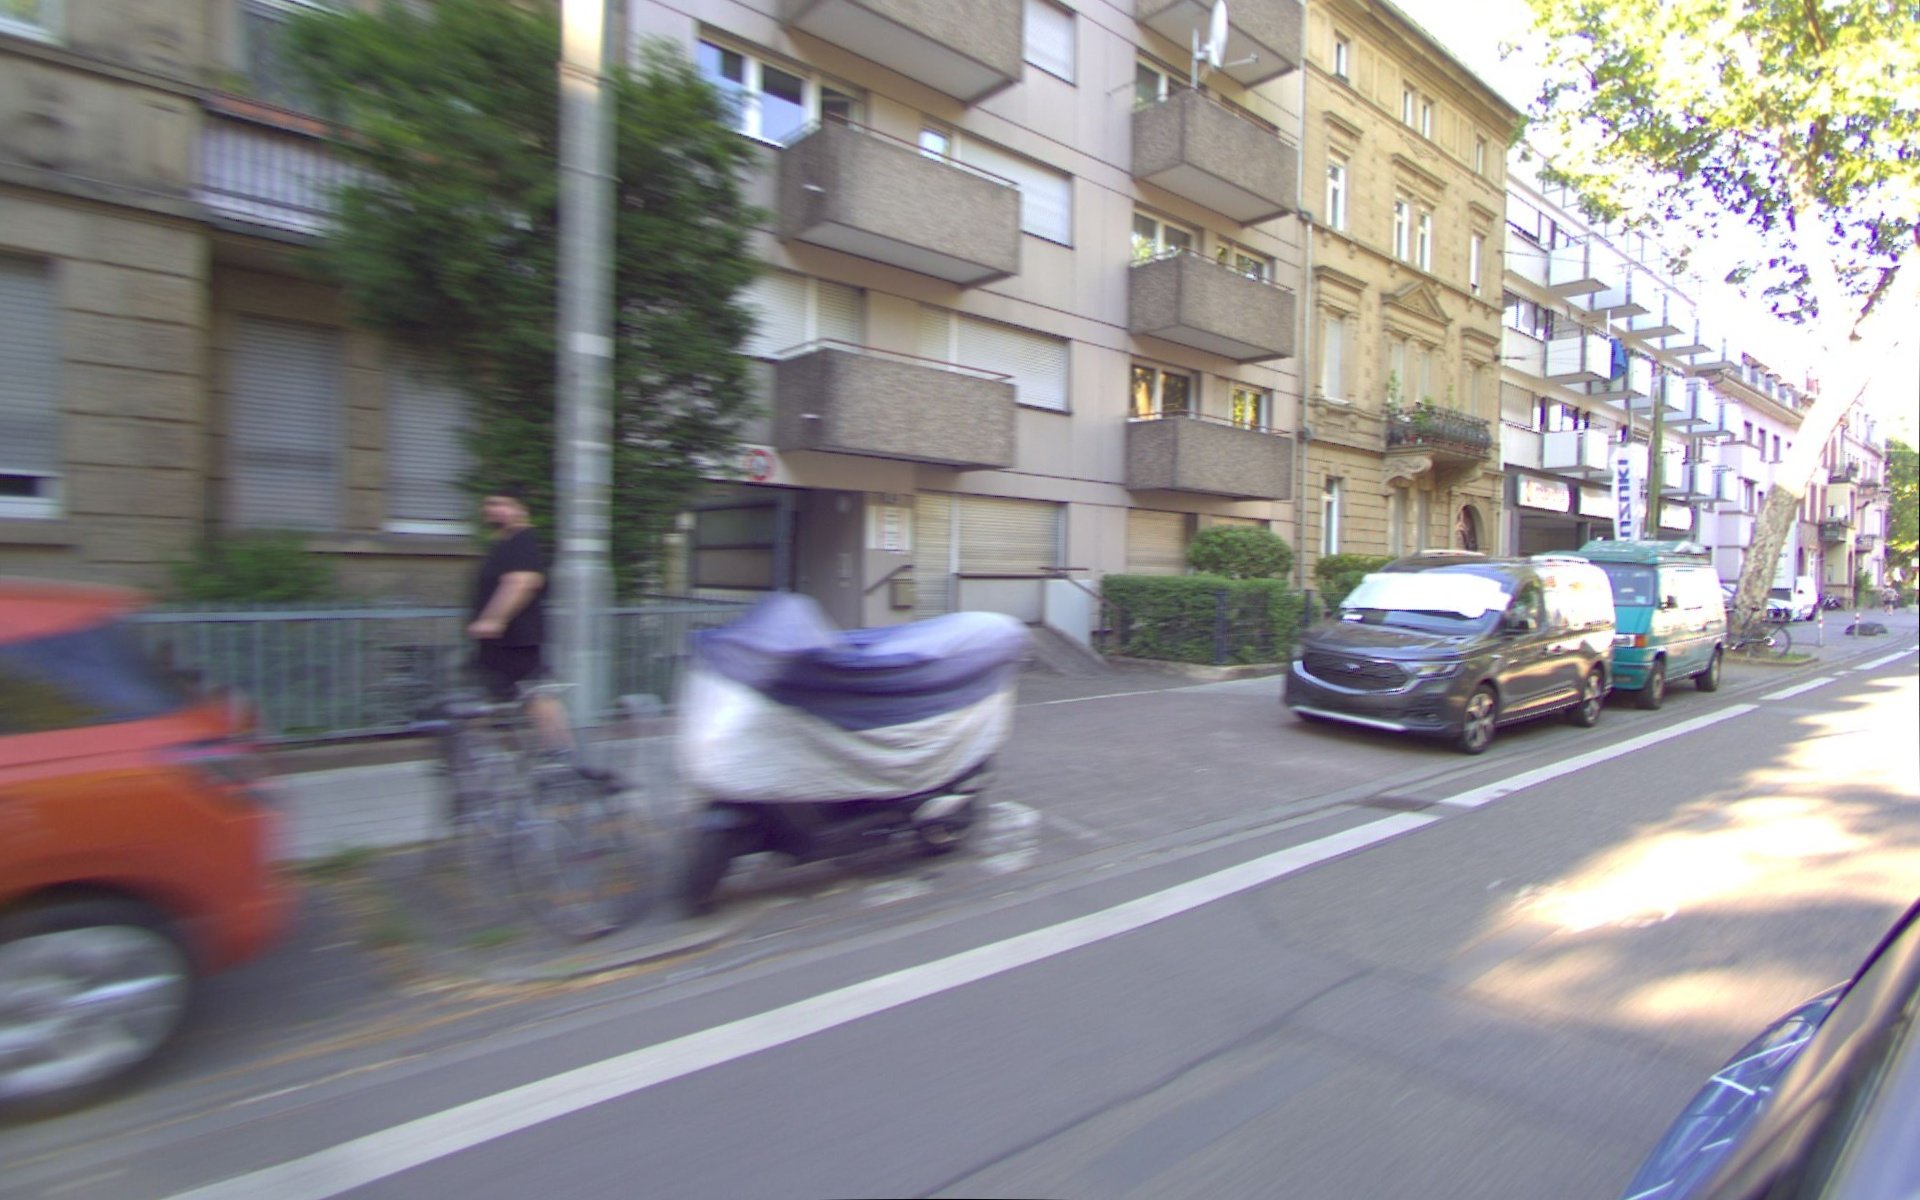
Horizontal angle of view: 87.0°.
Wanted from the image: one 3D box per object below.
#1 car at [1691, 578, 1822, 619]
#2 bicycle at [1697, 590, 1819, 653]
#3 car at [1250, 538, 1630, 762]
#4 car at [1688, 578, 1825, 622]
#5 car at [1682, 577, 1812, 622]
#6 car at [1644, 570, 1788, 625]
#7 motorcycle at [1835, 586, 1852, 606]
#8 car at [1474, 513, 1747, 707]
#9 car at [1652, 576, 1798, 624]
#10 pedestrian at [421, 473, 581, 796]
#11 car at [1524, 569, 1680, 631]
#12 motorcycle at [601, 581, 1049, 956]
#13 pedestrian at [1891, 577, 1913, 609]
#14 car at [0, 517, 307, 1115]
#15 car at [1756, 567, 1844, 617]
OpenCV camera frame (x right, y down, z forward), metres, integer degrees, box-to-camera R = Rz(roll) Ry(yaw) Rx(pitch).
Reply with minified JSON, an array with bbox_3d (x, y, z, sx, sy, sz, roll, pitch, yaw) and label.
[{"bbox_3d":[31.849,-0.086,40.556,1.879,1.520,3.819,1,1,-40],"label":"car"},{"bbox_3d":[15.832,0.398,20.124,0.342,1.157,1.848,-1,2,-41],"label":"bicycle"},{"bbox_3d":[5.208,0.321,10.654,4.677,1.852,1.996,-2,3,-42],"label":"car"},{"bbox_3d":[30.362,-0.035,38.642,1.778,1.533,3.874,0,2,-42],"label":"car"},{"bbox_3d":[28.611,-0.055,36.854,1.709,1.544,3.427,0,2,-39],"label":"car"},{"bbox_3d":[25.466,-0.107,34.185,1.651,1.741,3.590,1,1,-39],"label":"car"},{"bbox_3d":[54.556,-0.263,62.487,0.590,1.151,2.465,2,3,45],"label":"motorcycle"},{"bbox_3d":[9.369,0.022,14.366,5.147,2.285,1.996,-2,3,-42],"label":"car"},{"bbox_3d":[26.954,-0.042,35.746,1.827,1.559,3.825,-1,2,-42],"label":"car"},{"bbox_3d":[-3.032,0.198,6.679,0.800,1.961,0.712,0,1,-41],"label":"pedestrian"},{"bbox_3d":[17.714,-0.048,28.021,1.418,1.565,3.422,-2,3,-43],"label":"car"},{"bbox_3d":[-0.535,0.636,5.120,0.822,1.415,2.349,4,3,36],"label":"motorcycle"},{"bbox_3d":[54.116,-0.418,58.130,1.131,1.835,0.830,-2,2,-42],"label":"pedestrian"},{"bbox_3d":[-4.135,0.579,2.551,3.913,1.579,1.996,-2,3,-42],"label":"car"},{"bbox_3d":[35.620,-0.387,42.868,4.812,1.972,1.897,-2,3,-39],"label":"car"}]
